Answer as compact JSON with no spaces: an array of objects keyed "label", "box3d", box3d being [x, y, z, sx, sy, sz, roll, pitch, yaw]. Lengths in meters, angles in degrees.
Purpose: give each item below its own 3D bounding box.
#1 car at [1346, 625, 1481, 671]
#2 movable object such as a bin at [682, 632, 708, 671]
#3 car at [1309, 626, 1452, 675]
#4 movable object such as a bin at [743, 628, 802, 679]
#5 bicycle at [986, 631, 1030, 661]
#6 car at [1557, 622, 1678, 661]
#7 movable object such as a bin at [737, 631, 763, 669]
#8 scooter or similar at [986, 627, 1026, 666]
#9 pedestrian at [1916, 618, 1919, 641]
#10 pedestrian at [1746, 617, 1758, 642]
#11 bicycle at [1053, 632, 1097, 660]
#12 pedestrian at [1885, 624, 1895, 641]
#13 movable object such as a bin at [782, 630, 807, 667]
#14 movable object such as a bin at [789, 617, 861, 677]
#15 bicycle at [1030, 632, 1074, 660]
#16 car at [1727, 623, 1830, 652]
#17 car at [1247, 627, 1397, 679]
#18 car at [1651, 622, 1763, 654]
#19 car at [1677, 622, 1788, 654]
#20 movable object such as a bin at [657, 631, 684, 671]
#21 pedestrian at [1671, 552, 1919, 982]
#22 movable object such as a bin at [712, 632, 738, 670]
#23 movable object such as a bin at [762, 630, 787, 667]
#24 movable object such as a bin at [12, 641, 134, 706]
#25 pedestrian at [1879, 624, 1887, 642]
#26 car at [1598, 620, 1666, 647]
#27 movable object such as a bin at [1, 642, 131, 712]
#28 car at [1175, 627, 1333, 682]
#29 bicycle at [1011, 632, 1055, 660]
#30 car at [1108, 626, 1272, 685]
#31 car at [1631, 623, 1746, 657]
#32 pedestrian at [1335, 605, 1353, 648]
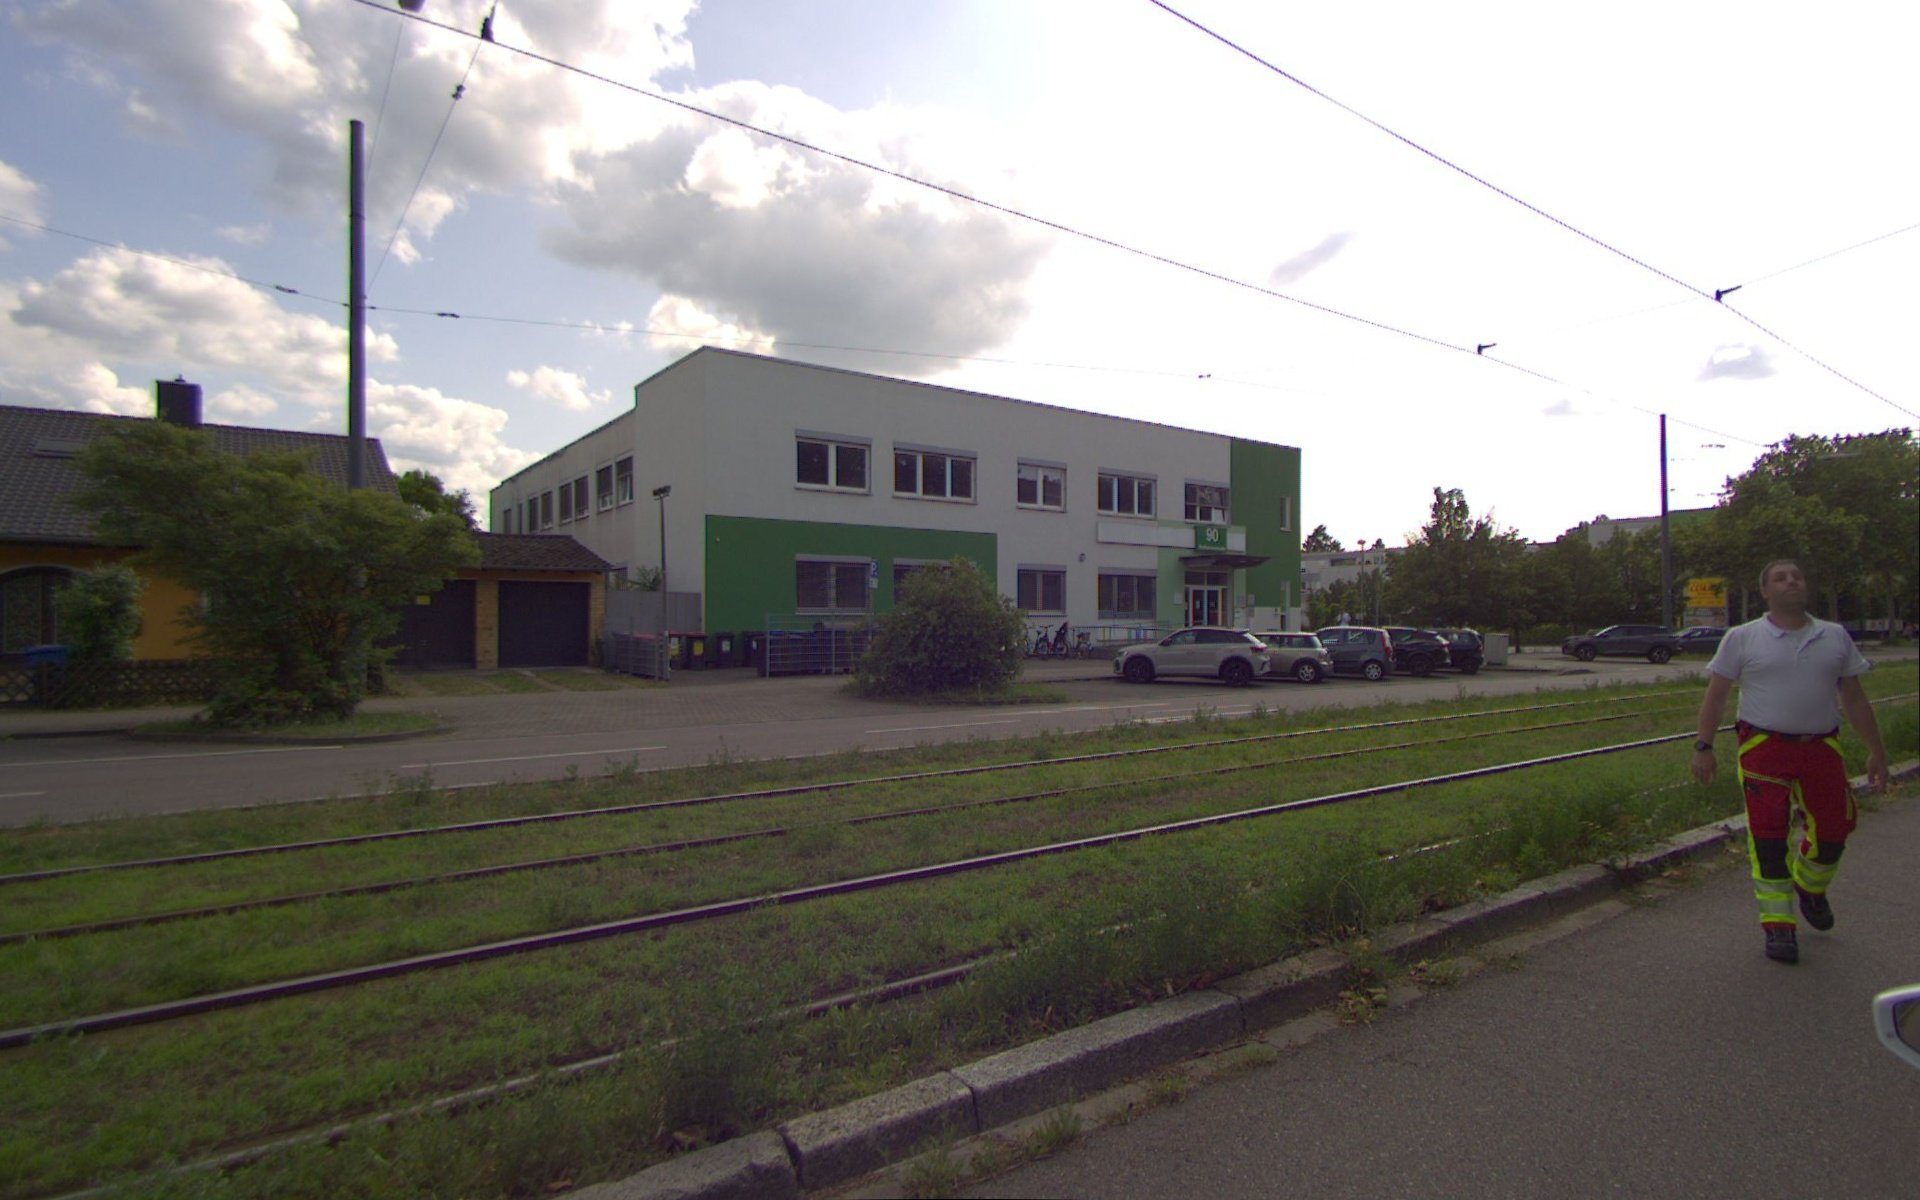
[{"label":"car","box3d":[15.645,1.621,34.768,4.156,1.501,1.882,-1,-1,25]},{"label":"movable object such as a bin","box3d":[-7.482,1.448,28.393,0.558,1.056,0.564,0,1,-35]},{"label":"car","box3d":[13.603,1.606,32.557,4.156,1.501,1.882,-1,-1,25]},{"label":"movable object such as a bin","box3d":[-4.909,1.383,26.342,1.243,1.251,1.000,0,1,-34]},{"label":"bicycle","box3d":[1.627,1.567,34.447,0.454,0.911,1.845,2,0,-35]},{"label":"car","box3d":[27.740,1.723,42.541,4.159,1.501,1.880,1,-1,30]},{"label":"movable object such as a bin","box3d":[-6.136,1.461,29.371,0.558,1.056,0.564,0,1,-35]},{"label":"scooter or similar","box3d":[1.467,1.489,32.364,1.074,1.171,1.305,2,0,-7]},{"label":"pedestrian","box3d":[73.993,2.264,77.364,0.464,1.753,0.418,1,-1,-40]},{"label":"pedestrian","box3d":[53.961,2.021,68.435,0.598,1.699,0.462,1,-1,-38]},{"label":"bicycle","box3d":[4.119,1.648,36.242,0.454,0.911,1.845,2,0,-35]},{"label":"pedestrian","box3d":[77.056,2.703,83.248,0.459,1.433,0.422,0,-1,-11]},{"label":"movable object such as a bin","box3d":[-4.965,1.440,30.171,0.558,1.056,0.564,0,1,-35]},{"label":"movable object such as a bin","box3d":[-3.655,1.241,27.202,1.693,1.540,1.000,0,1,-34]},{"label":"bicycle","box3d":[3.249,1.625,35.661,0.454,0.911,1.845,2,0,-35]},{"label":"car","box3d":[46.678,2.133,57.390,4.150,1.501,1.884,1,0,15]},{"label":"car","box3d":[11.104,1.589,30.800,4.156,1.501,1.882,-1,-1,25]},{"label":"car","box3d":[37.673,1.903,50.793,4.151,1.501,1.884,1,-1,19]},{"label":"car","box3d":[40.239,1.969,52.423,4.151,1.501,1.884,1,-1,19]},{"label":"movable object such as a bin","box3d":[-8.058,1.419,27.945,0.558,1.056,0.564,0,1,-35]},{"label":"pedestrian","box3d":[3.744,0.670,4.564,0.792,1.709,0.849,0,0,33]},{"label":"movable object such as a bin","box3d":[-6.766,1.456,28.947,0.558,1.056,0.564,0,1,-35]},{"label":"movable object such as a bin","box3d":[-5.505,1.421,29.812,0.558,1.056,0.564,0,1,-35]},{"label":"movable object such as a bin","box3d":[-16.647,1.355,18.921,1.603,1.107,1.245,1,-1,-37]},{"label":"pedestrian","box3d":[75.523,2.685,82.225,0.464,1.493,0.418,1,-1,-40]},{"label":"car","box3d":[47.941,2.361,71.792,1.962,1.773,3.997,1,0,-4]},{"label":"movable object such as a bin","box3d":[-15.750,1.324,17.775,1.603,1.115,1.245,1,-1,-37]},{"label":"car","box3d":[8.539,1.544,29.194,4.156,1.501,1.882,-1,-1,25]},{"label":"bicycle","box3d":[2.525,1.599,35.140,0.454,0.911,1.845,2,0,-35]},{"label":"car","box3d":[6.280,1.470,27.359,4.152,1.501,1.883,-1,-1,20]},{"label":"car","box3d":[35.468,1.904,49.005,4.151,1.501,1.884,1,-1,19]},{"label":"pedestrian","box3d":[16.847,1.161,44.096,0.504,1.852,0.542,1,-1,-38]}]
